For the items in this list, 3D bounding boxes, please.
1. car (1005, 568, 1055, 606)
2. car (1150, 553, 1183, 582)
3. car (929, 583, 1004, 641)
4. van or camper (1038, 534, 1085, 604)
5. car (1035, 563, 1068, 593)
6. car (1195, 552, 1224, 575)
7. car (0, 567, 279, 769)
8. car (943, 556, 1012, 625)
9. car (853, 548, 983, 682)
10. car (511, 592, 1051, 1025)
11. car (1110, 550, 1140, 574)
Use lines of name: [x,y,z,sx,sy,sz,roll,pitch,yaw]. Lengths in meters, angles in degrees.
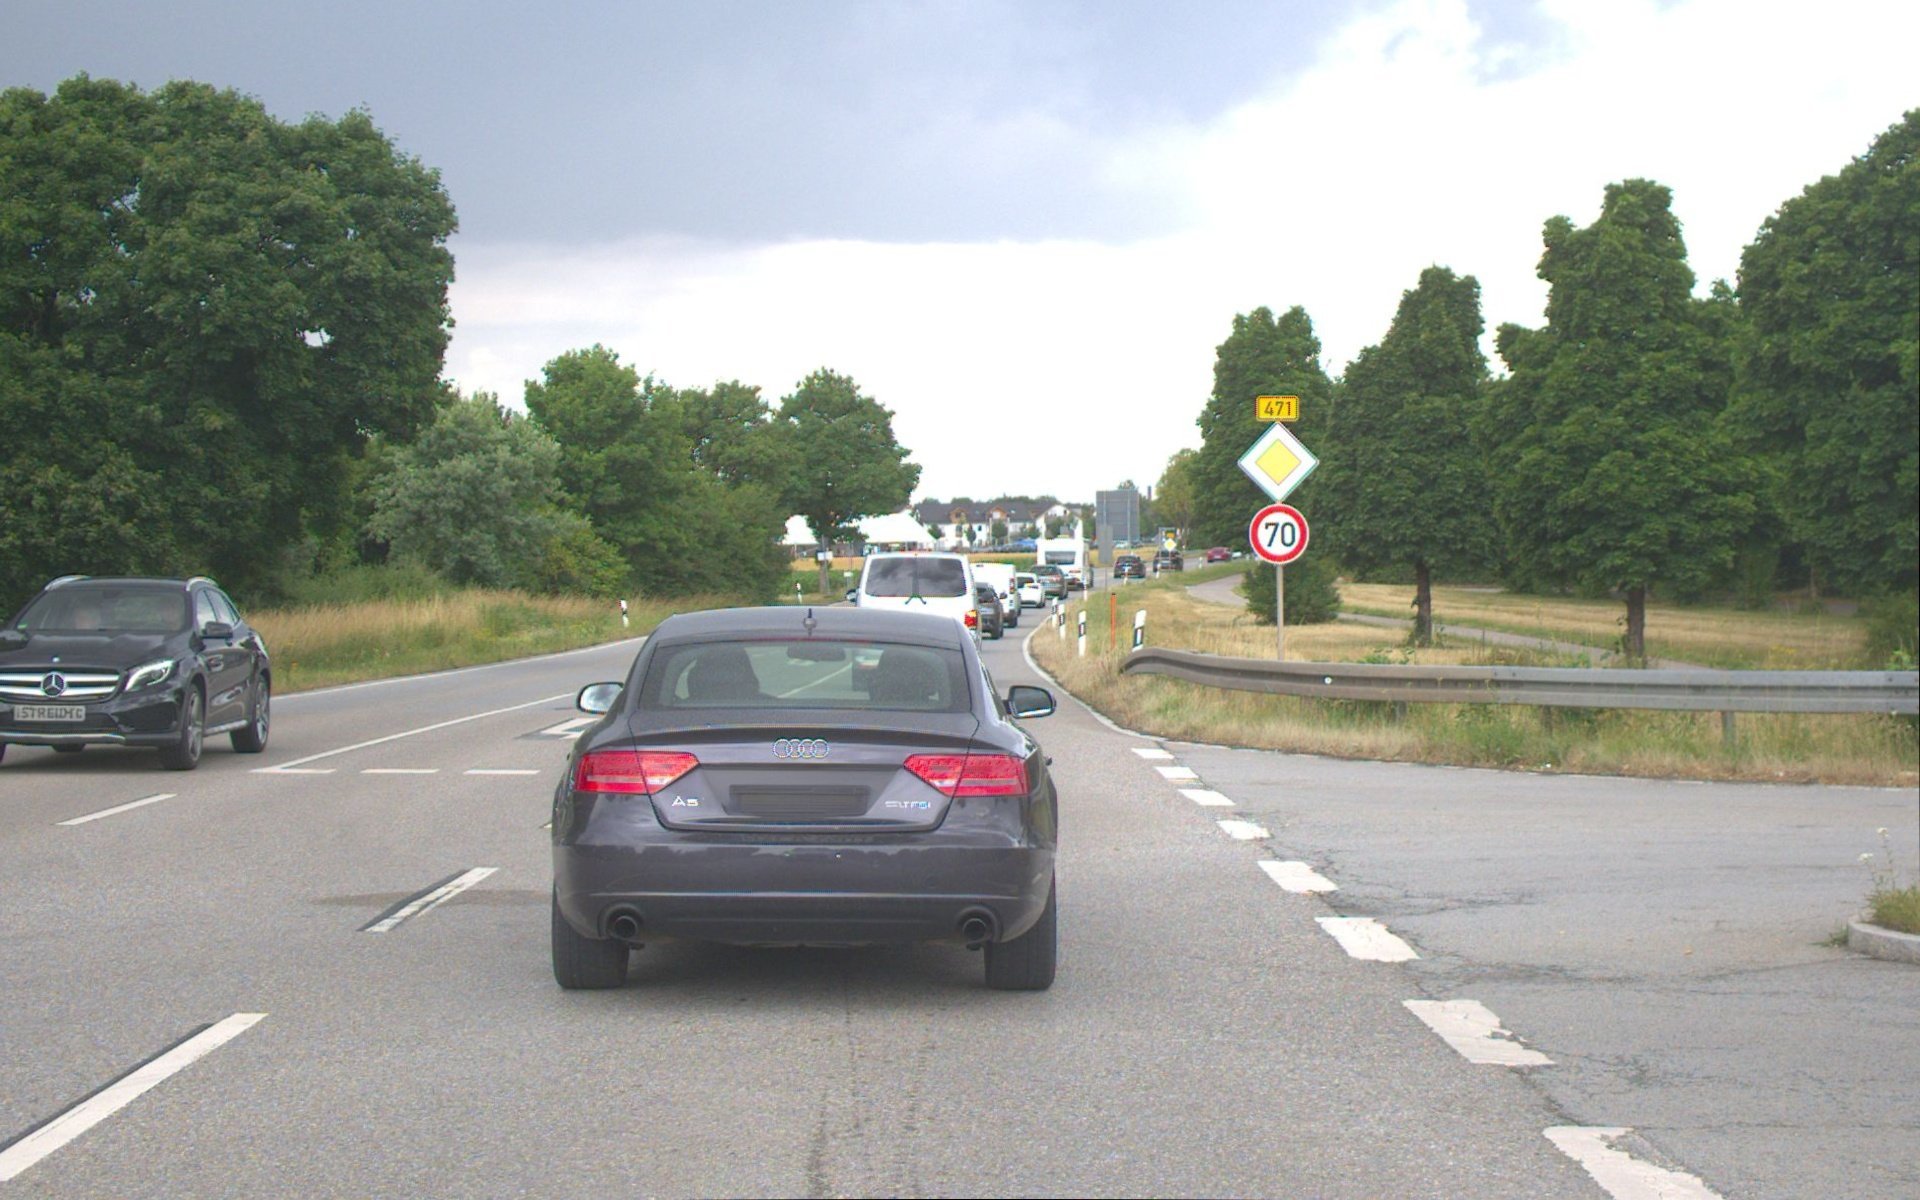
car: [2.842,-0.519,138.714,1.736,1.509,3.746,0,0,5]
car: [14.409,-2.285,239.834,1.993,2.007,4.000,0,0,-1]
car: [0.176,0.300,89.946,1.796,1.459,3.248,0,0,3]
van or camper: [5.087,-1.538,172.692,2.340,3.469,5.718,0,0,1]
car: [4.135,-1.002,154.552,1.258,1.349,3.465,0,0,5]
car: [17.385,-2.543,239.728,1.821,1.591,4.000,0,0,1]
car: [-6.763,0.494,27.912,1.711,1.517,4.000,0,0,-1]
car: [0.551,-0.299,105.834,1.993,2.081,4.000,0,0,2]
car: [-0.623,0.185,50.881,1.838,1.876,4.000,1,1,-1]
car: [-0.621,0.691,13.465,1.783,1.372,4.000,1,1,-1]
car: [10.264,-2.360,214.187,1.719,1.446,4.000,1,1,0]
